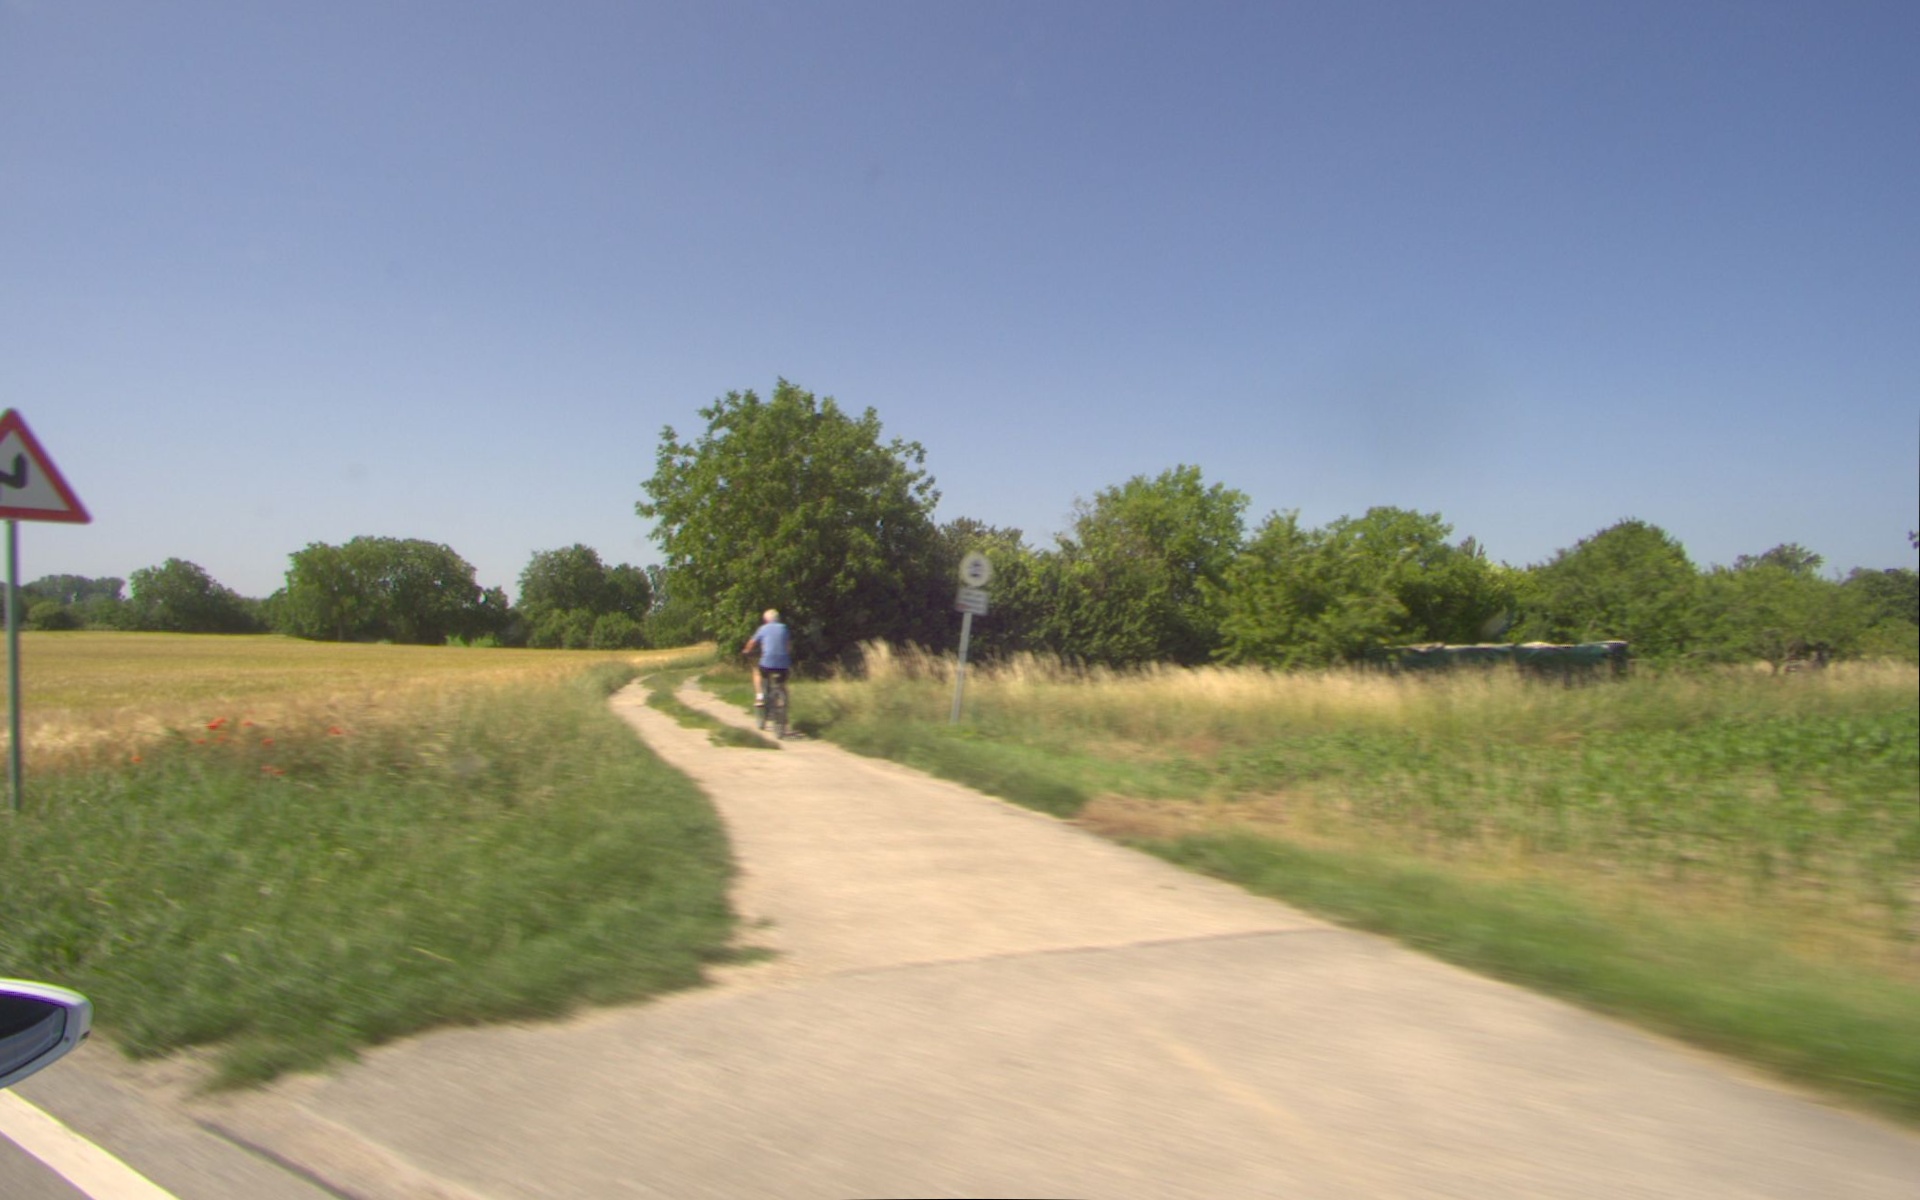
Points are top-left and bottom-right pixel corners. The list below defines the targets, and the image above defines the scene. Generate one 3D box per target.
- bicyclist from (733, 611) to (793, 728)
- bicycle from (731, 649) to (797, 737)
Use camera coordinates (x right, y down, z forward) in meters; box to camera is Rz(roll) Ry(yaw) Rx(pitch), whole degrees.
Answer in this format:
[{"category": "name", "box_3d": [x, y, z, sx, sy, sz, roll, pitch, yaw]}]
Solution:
[{"category": "bicyclist", "box_3d": [-2.787, 0.963, 14.142, 0.664, 1.594, 0.733, 1, -1, -25]}, {"category": "bicycle", "box_3d": [-2.798, 1.278, 14.158, 0.513, 1.130, 1.763, 1, -2, -24]}]
